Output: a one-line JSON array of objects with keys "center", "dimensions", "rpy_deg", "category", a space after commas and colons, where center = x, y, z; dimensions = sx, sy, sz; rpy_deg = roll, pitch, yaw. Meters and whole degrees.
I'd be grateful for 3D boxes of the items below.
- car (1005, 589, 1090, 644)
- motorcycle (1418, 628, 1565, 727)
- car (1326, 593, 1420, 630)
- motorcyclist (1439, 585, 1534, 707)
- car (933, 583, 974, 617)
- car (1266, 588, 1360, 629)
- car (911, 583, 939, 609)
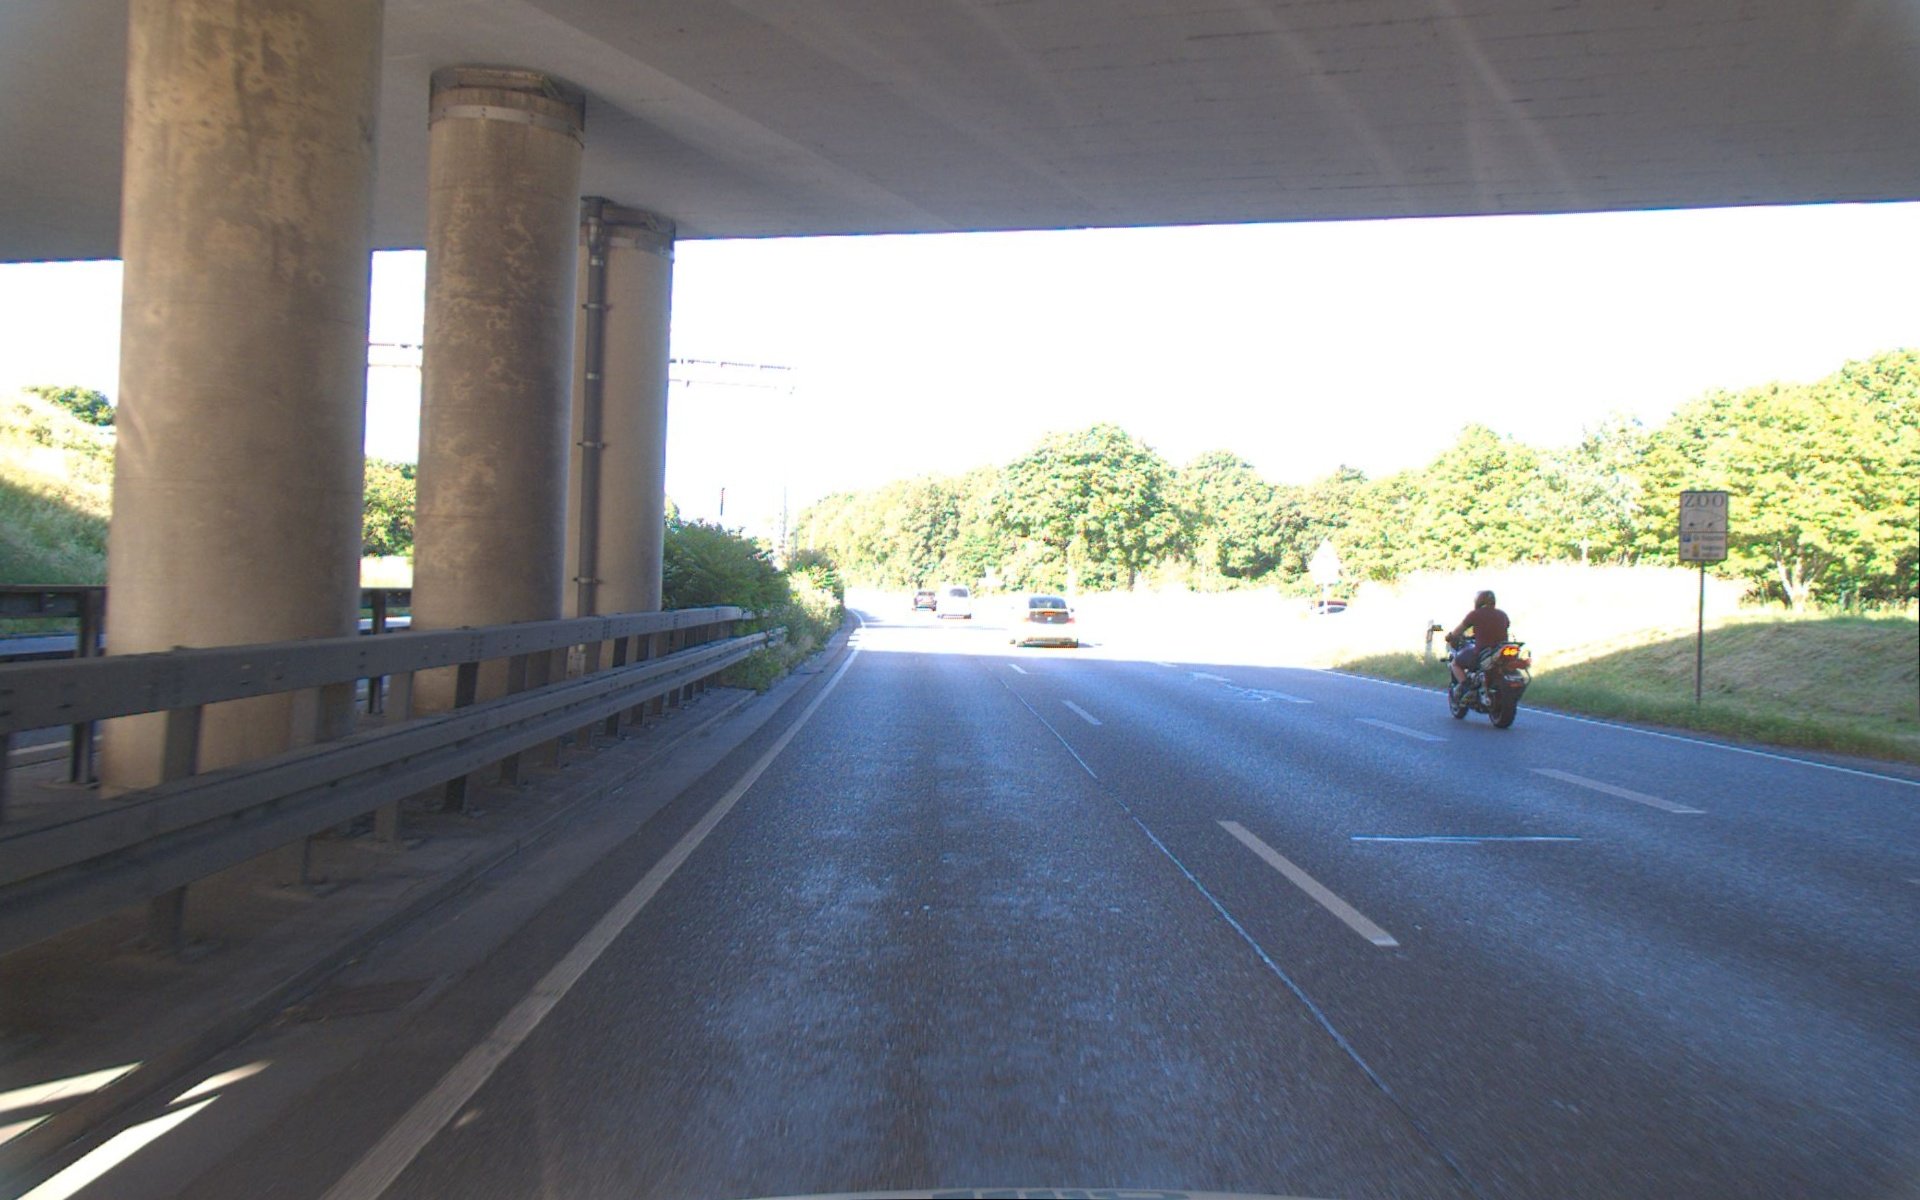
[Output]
[{"center": [2.484, 0.450, 47.896], "dimensions": [1.860, 1.496, 3.996], "rpy_deg": [0, 1, -6], "category": "car"}, {"center": [6.599, 0.932, 20.730], "dimensions": [0.800, 1.088, 2.834], "rpy_deg": [1, 0, -3], "category": "motorcycle"}, {"center": [19.990, 0.577, 80.127], "dimensions": [4.032, 1.586, 1.920], "rpy_deg": [2, -3, -8], "category": "car"}, {"center": [6.604, 0.564, 20.784], "dimensions": [0.800, 1.472, 1.093], "rpy_deg": [1, 0, -3], "category": "motorcyclist"}, {"center": [-0.363, 0.017, 91.033], "dimensions": [1.861, 1.798, 3.994], "rpy_deg": [0, 0, -6], "category": "car"}, {"center": [19.443, 0.505, 91.199], "dimensions": [4.699, 2.059, 2.022], "rpy_deg": [2, -3, -8], "category": "car"}, {"center": [-2.523, -0.287, 118.535], "dimensions": [1.859, 1.798, 3.997], "rpy_deg": [0, 0, -4], "category": "car"}]
